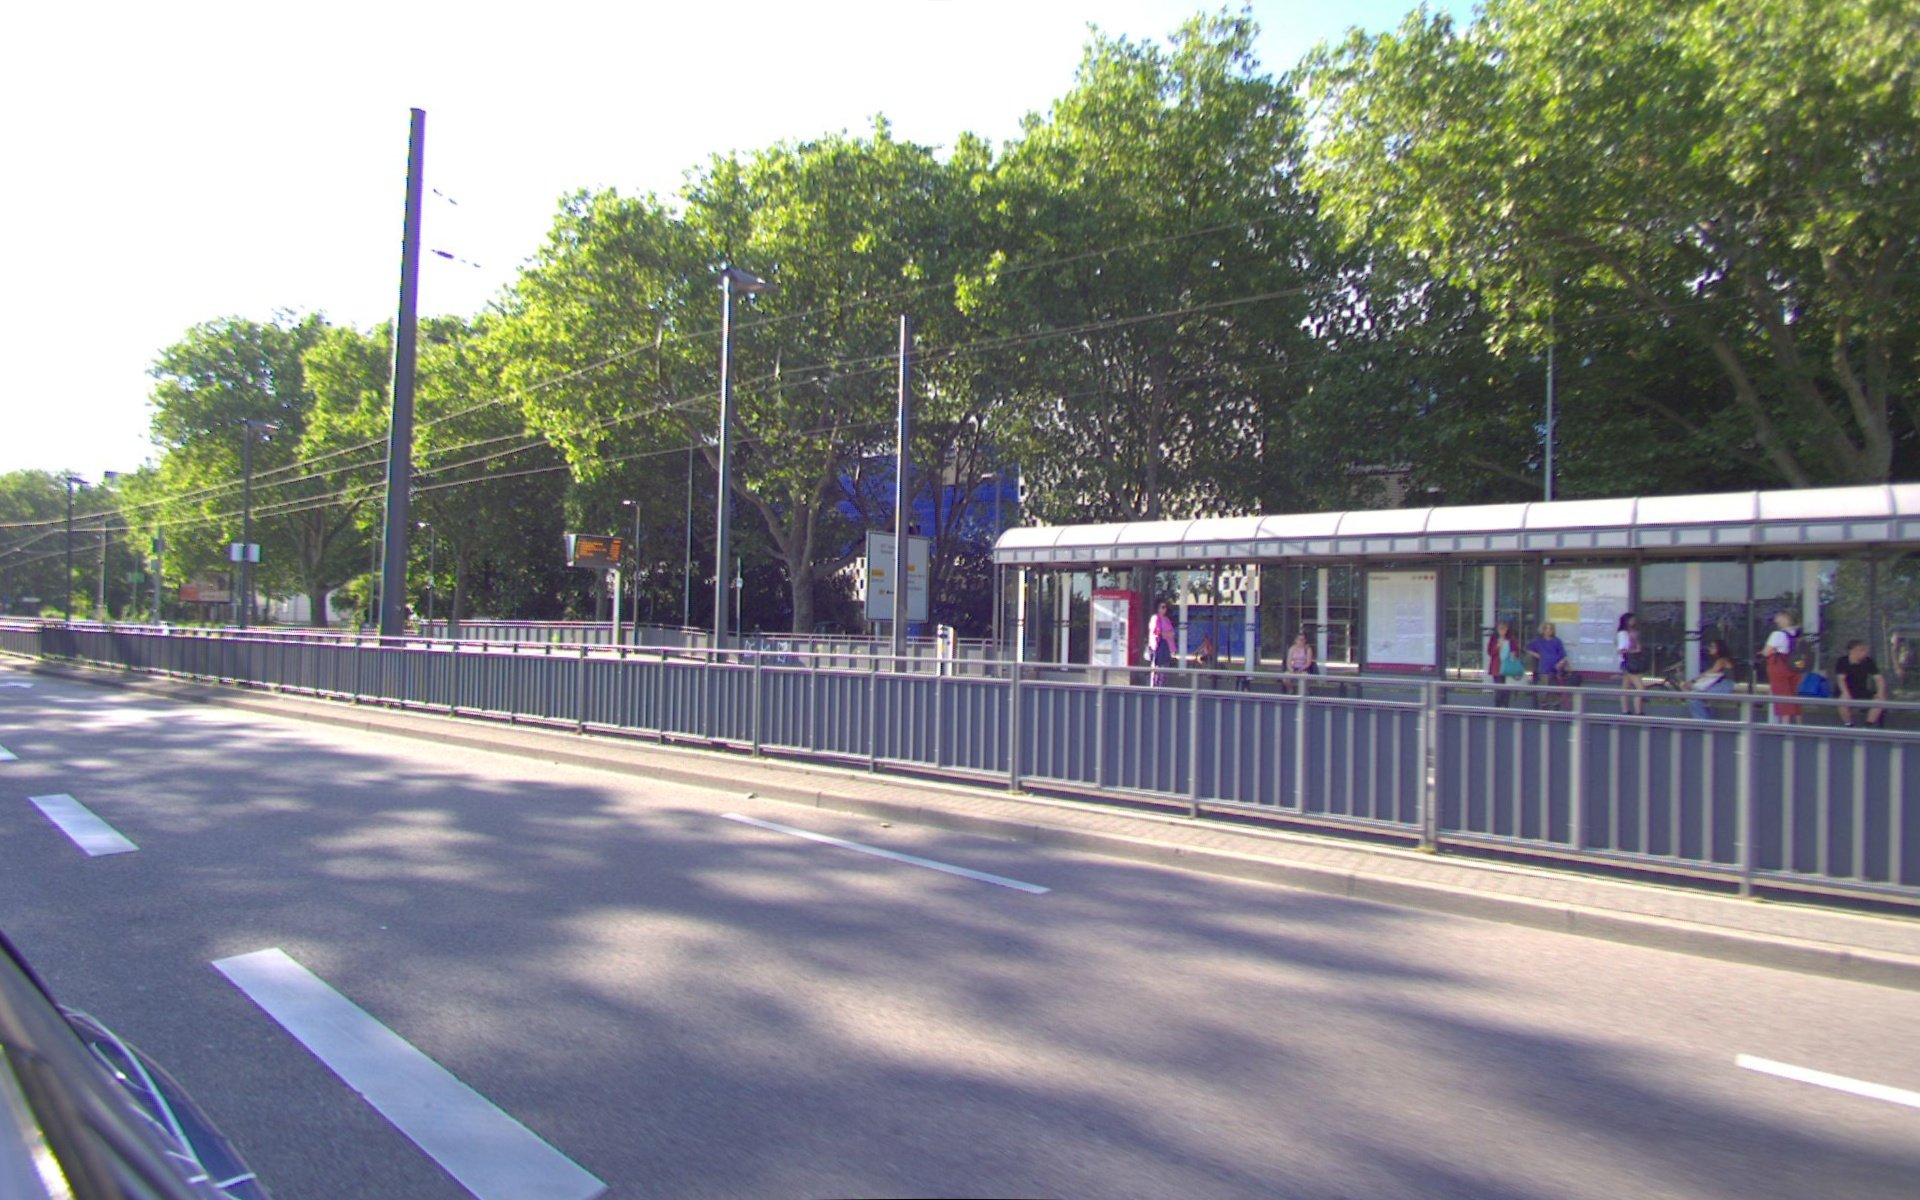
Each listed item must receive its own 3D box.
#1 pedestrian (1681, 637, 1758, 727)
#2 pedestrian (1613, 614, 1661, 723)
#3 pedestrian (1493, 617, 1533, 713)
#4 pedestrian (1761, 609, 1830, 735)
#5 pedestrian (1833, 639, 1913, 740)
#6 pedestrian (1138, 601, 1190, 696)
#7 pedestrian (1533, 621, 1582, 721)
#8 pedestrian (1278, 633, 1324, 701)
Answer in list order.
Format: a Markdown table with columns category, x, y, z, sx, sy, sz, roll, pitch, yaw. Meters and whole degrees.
| category | x | y | z | sx | sy | sz | roll | pitch | yaw |
| --- | --- | --- | --- | --- | --- | --- | --- | --- | --- |
| pedestrian | 10.978 | 1.171 | 14.646 | 0.662 | 1.267 | 0.576 | 1 | -2 | 3 |
| pedestrian | 10.163 | 1.015 | 15.199 | 0.568 | 1.589 | 0.489 | 2 | -2 | -44 |
| pedestrian | 8.707 | 1.009 | 15.939 | 0.542 | 1.479 | 0.610 | 0 | -2 | 29 |
| pedestrian | 11.273 | 0.950 | 13.662 | 0.568 | 1.648 | 0.644 | 2 | -2 | -44 |
| pedestrian | 12.057 | 1.161 | 13.384 | 0.684 | 1.262 | 0.647 | -1 | 0 | 35 |
| pedestrian | 3.800 | 0.894 | 18.823 | 0.677 | 1.723 | 0.754 | -1 | -2 | 38 |
| pedestrian | 9.249 | 1.076 | 15.677 | 0.574 | 1.503 | 0.665 | 0 | -2 | 24 |
| pedestrian | 6.108 | 1.182 | 18.130 | 0.623 | 1.171 | 0.671 | -1 | -2 | 35 |
